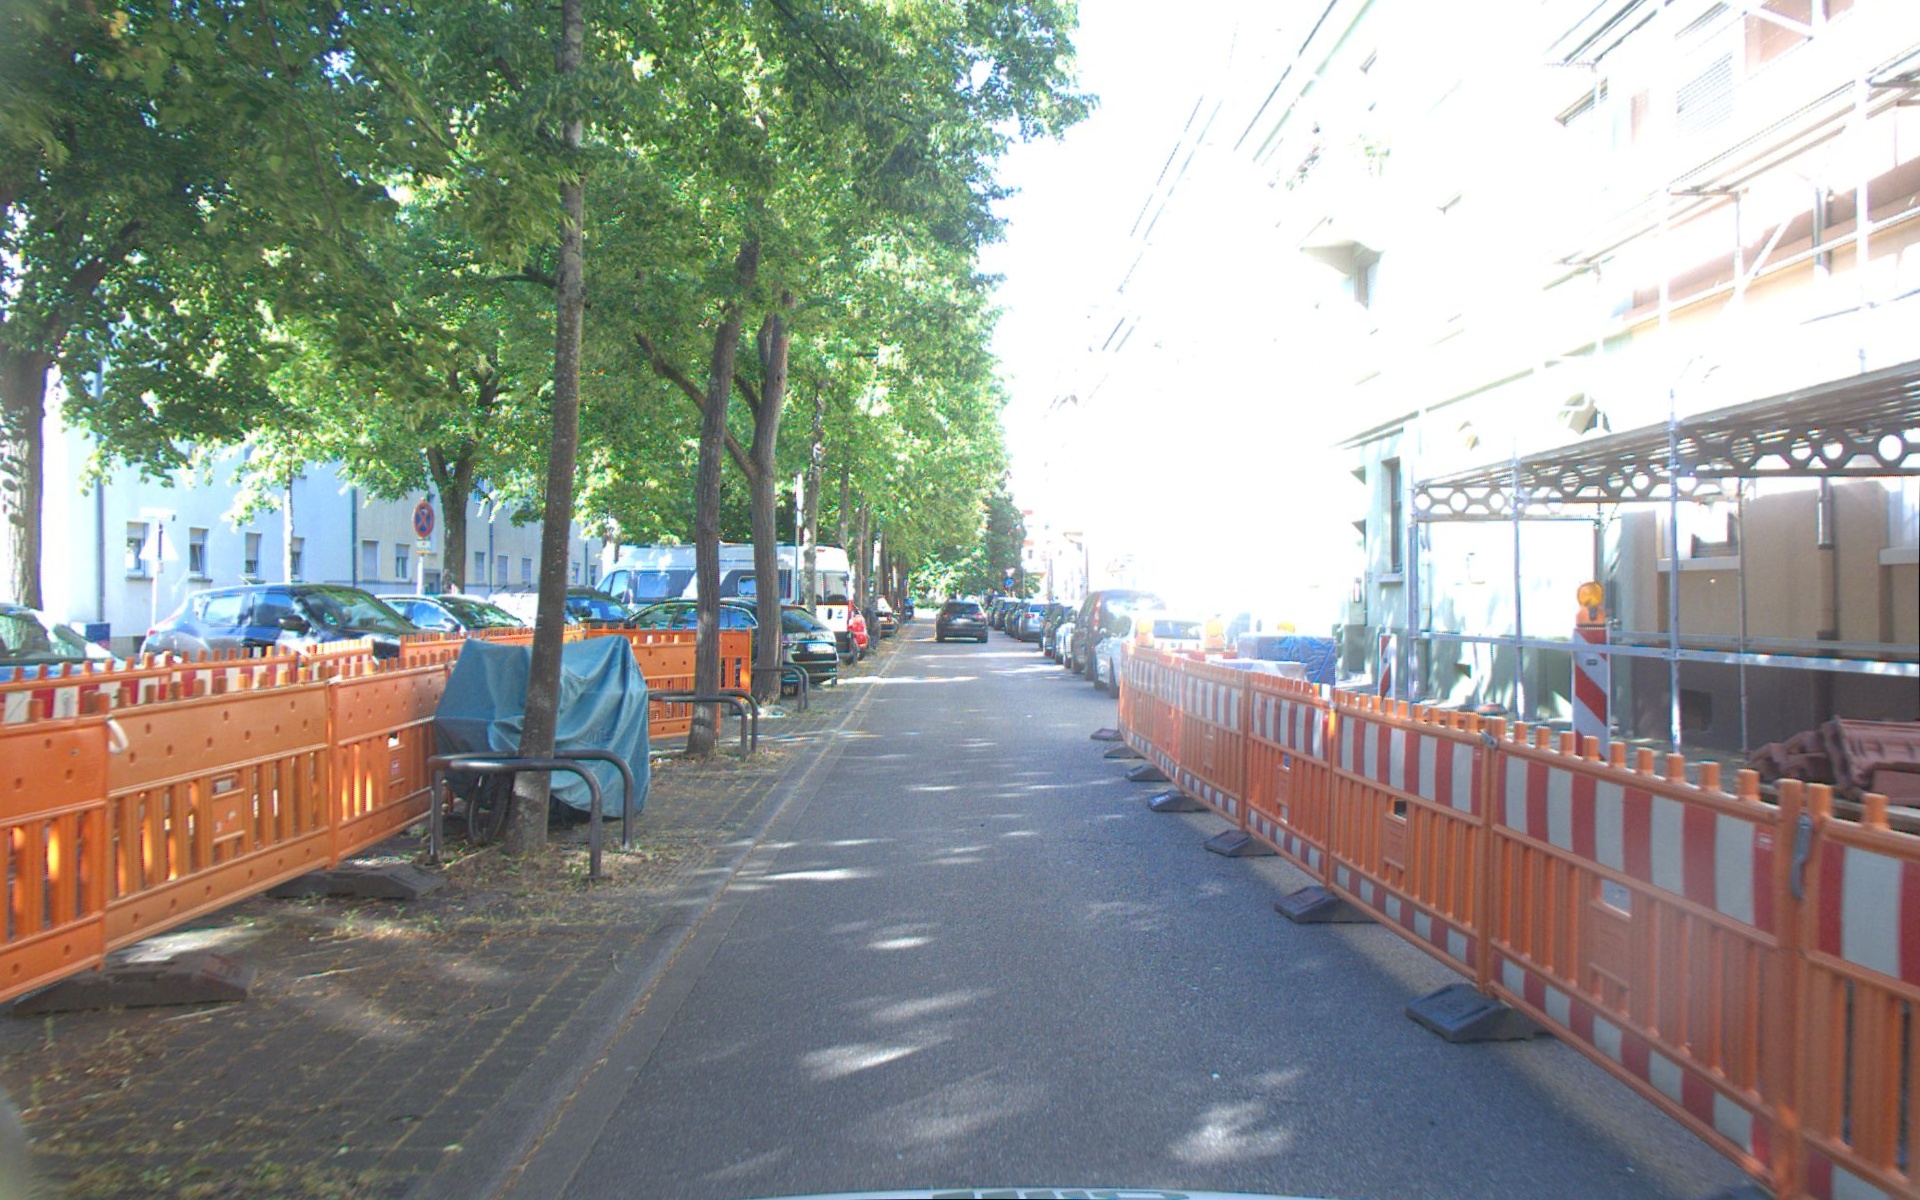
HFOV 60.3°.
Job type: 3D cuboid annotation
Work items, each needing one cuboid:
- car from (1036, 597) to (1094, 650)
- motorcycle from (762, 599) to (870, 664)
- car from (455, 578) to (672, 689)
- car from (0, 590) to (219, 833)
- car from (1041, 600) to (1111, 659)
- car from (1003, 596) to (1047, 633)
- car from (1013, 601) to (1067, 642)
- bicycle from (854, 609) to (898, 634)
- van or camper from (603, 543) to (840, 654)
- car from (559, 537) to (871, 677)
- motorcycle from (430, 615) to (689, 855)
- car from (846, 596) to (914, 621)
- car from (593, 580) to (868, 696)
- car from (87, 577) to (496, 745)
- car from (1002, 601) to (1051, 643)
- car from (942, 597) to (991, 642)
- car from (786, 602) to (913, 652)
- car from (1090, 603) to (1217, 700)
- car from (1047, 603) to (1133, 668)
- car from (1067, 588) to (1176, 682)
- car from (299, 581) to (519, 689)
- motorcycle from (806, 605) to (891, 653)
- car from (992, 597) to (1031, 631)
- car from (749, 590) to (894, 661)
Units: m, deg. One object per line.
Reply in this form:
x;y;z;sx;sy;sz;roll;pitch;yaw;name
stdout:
3.206;0.692;51.176;1.548;1.578;4.041;0;0;0;car
-3.183;0.680;36.392;2.277;1.358;0.967;2;0;-10;motorcycle
-7.556;0.596;31.315;4.307;1.948;1.987;0;0;43;car
-7.253;0.696;11.493;3.819;1.486;1.578;-1;0;20;car
3.172;0.779;45.703;1.567;1.518;3.965;-1;0;-1;car
2.753;0.594;71.104;1.658;1.493;4.004;1;0;-1;car
2.922;0.768;61.155;1.733;1.456;4.290;-1;0;-1;car
-3.515;0.901;68.957;1.772;1.011;0.426;0;0;15;bicycle
-6.560;-0.079;45.318;6.166;2.874;2.404;1;0;28;van or camper
-5.005;0.115;33.395;6.193;2.603;2.332;0;-1;32;car
-2.484;0.779;10.580;0.617;1.347;2.230;1;0;14;motorcycle
-5.010;0.539;103.885;4.017;1.492;1.861;2;-1;-12;car
-3.621;0.586;25.937;4.011;1.552;1.698;2;-2;30;car
-7.190;0.625;17.801;4.036;1.654;1.698;-1;0;22;car
2.639;0.855;66.217;1.731;1.579;4.183;-1;0;-1;car
0.244;0.649;58.578;1.679;1.509;4.145;-1;0;1;car
-3.554;0.865;52.934;3.938;1.500;1.621;-1;0;35;car
3.282;0.831;28.755;1.670;1.538;4.283;-1;0;-1;car
3.097;0.819;40.055;1.574;1.445;4.567;-1;0;-2;car
3.295;0.687;34.401;1.735;1.825;3.988;-1;0;-2;car
-8.189;0.500;24.623;2.884;1.478;1.245;1;0;16;car
-2.968;0.764;44.187;2.101;1.251;0.882;0;0;8;motorcycle
2.504;0.642;81.143;1.768;1.591;4.321;-1;0;1;car
-3.432;0.611;40.555;1.648;1.646;3.823;-1;0;-40;car
